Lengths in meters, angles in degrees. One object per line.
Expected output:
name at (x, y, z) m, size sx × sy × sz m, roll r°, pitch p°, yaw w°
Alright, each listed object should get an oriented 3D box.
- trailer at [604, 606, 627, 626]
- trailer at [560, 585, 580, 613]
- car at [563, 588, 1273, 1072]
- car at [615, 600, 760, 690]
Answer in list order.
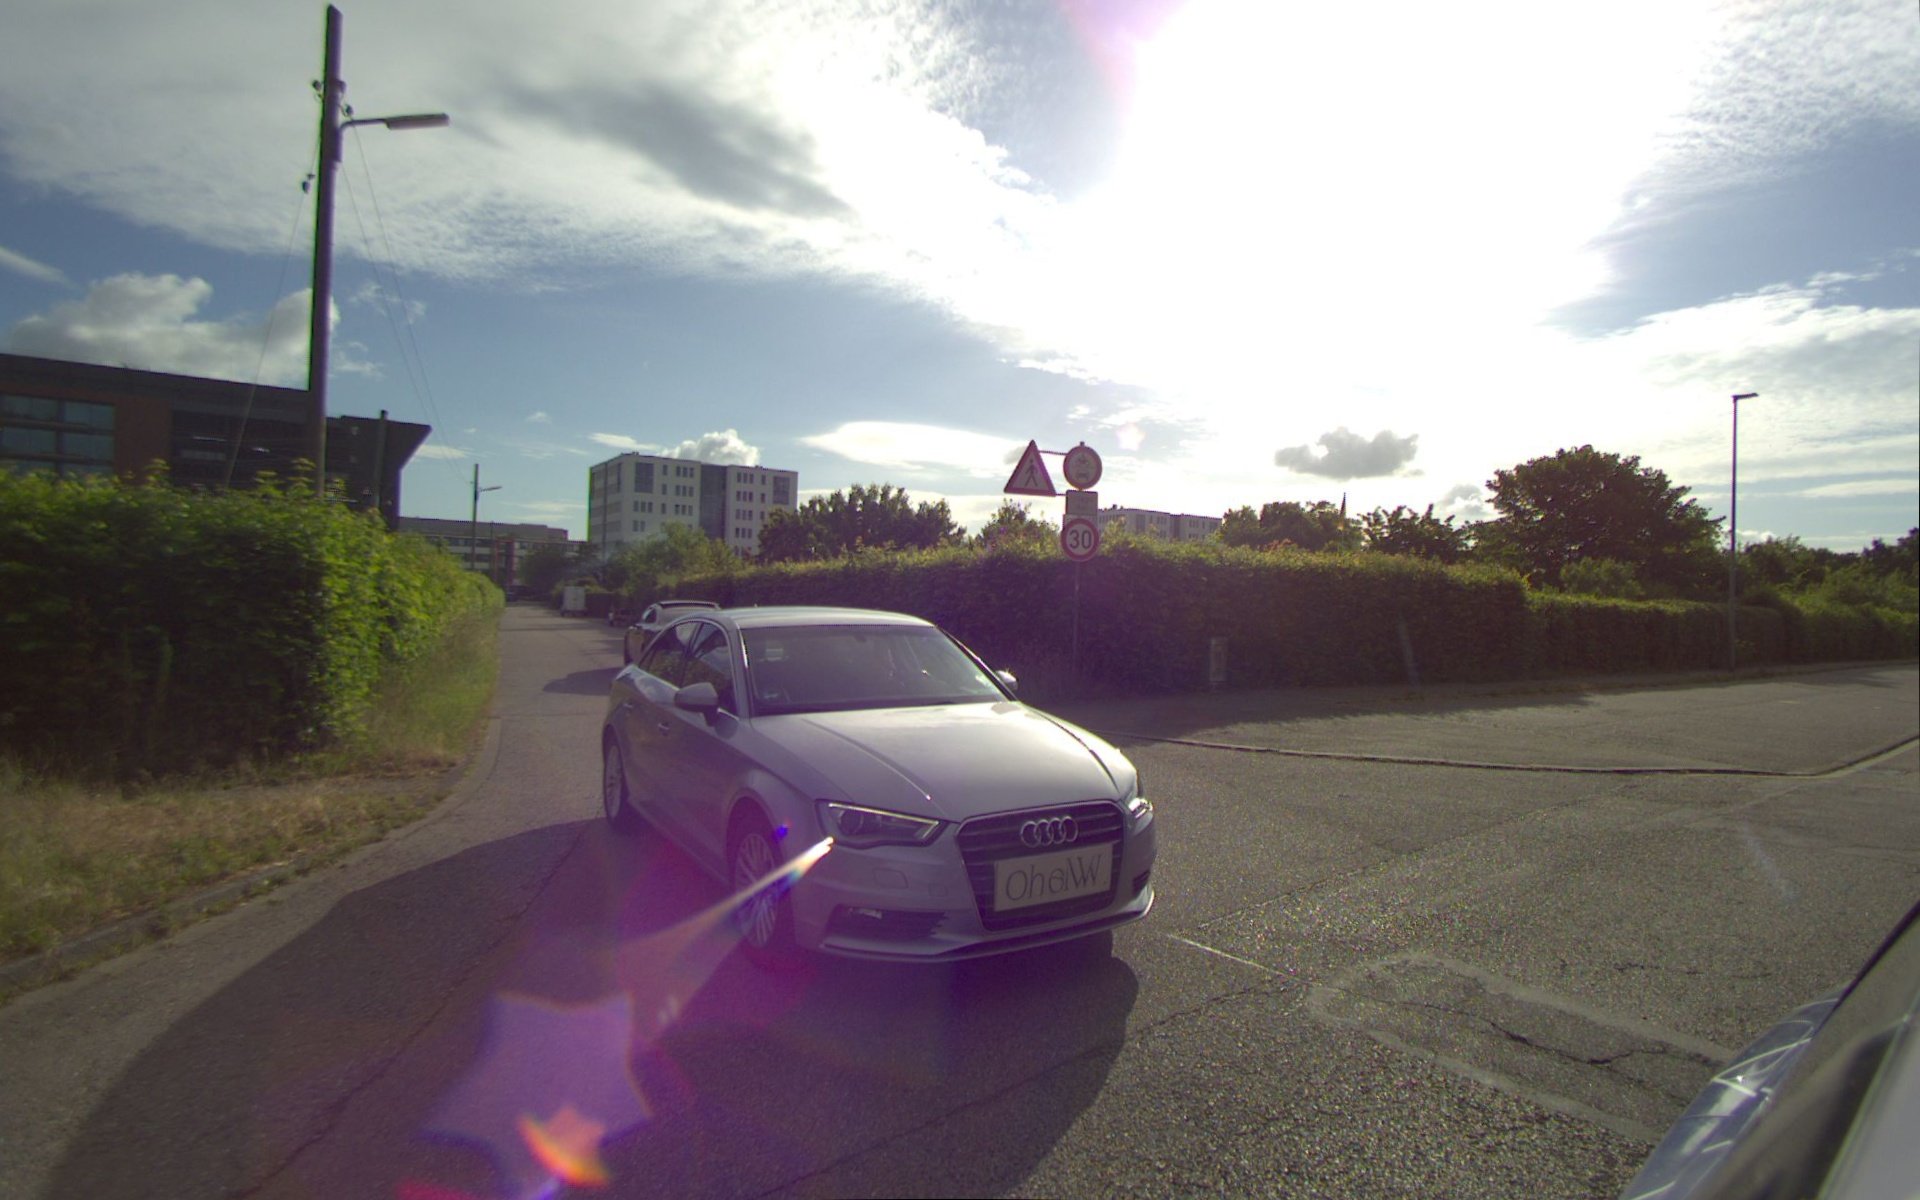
trailer at (-18.409, 0.852, 54.020) m, size 1.007 × 1.052 × 2.135 m, roll 1°, pitch 0°, yaw -22°
trailer at (-32.449, -0.064, 84.200) m, size 1.308 × 2.263 × 4.007 m, roll 2°, pitch -1°, yaw -23°
car at (-0.695, 0.686, 5.455) m, size 1.894 × 1.461 × 4.379 m, roll 1°, pitch 0°, yaw -32°
car at (-5.328, 0.762, 19.361) m, size 1.932 × 1.452 × 4.343 m, roll 1°, pitch 0°, yaw -25°
